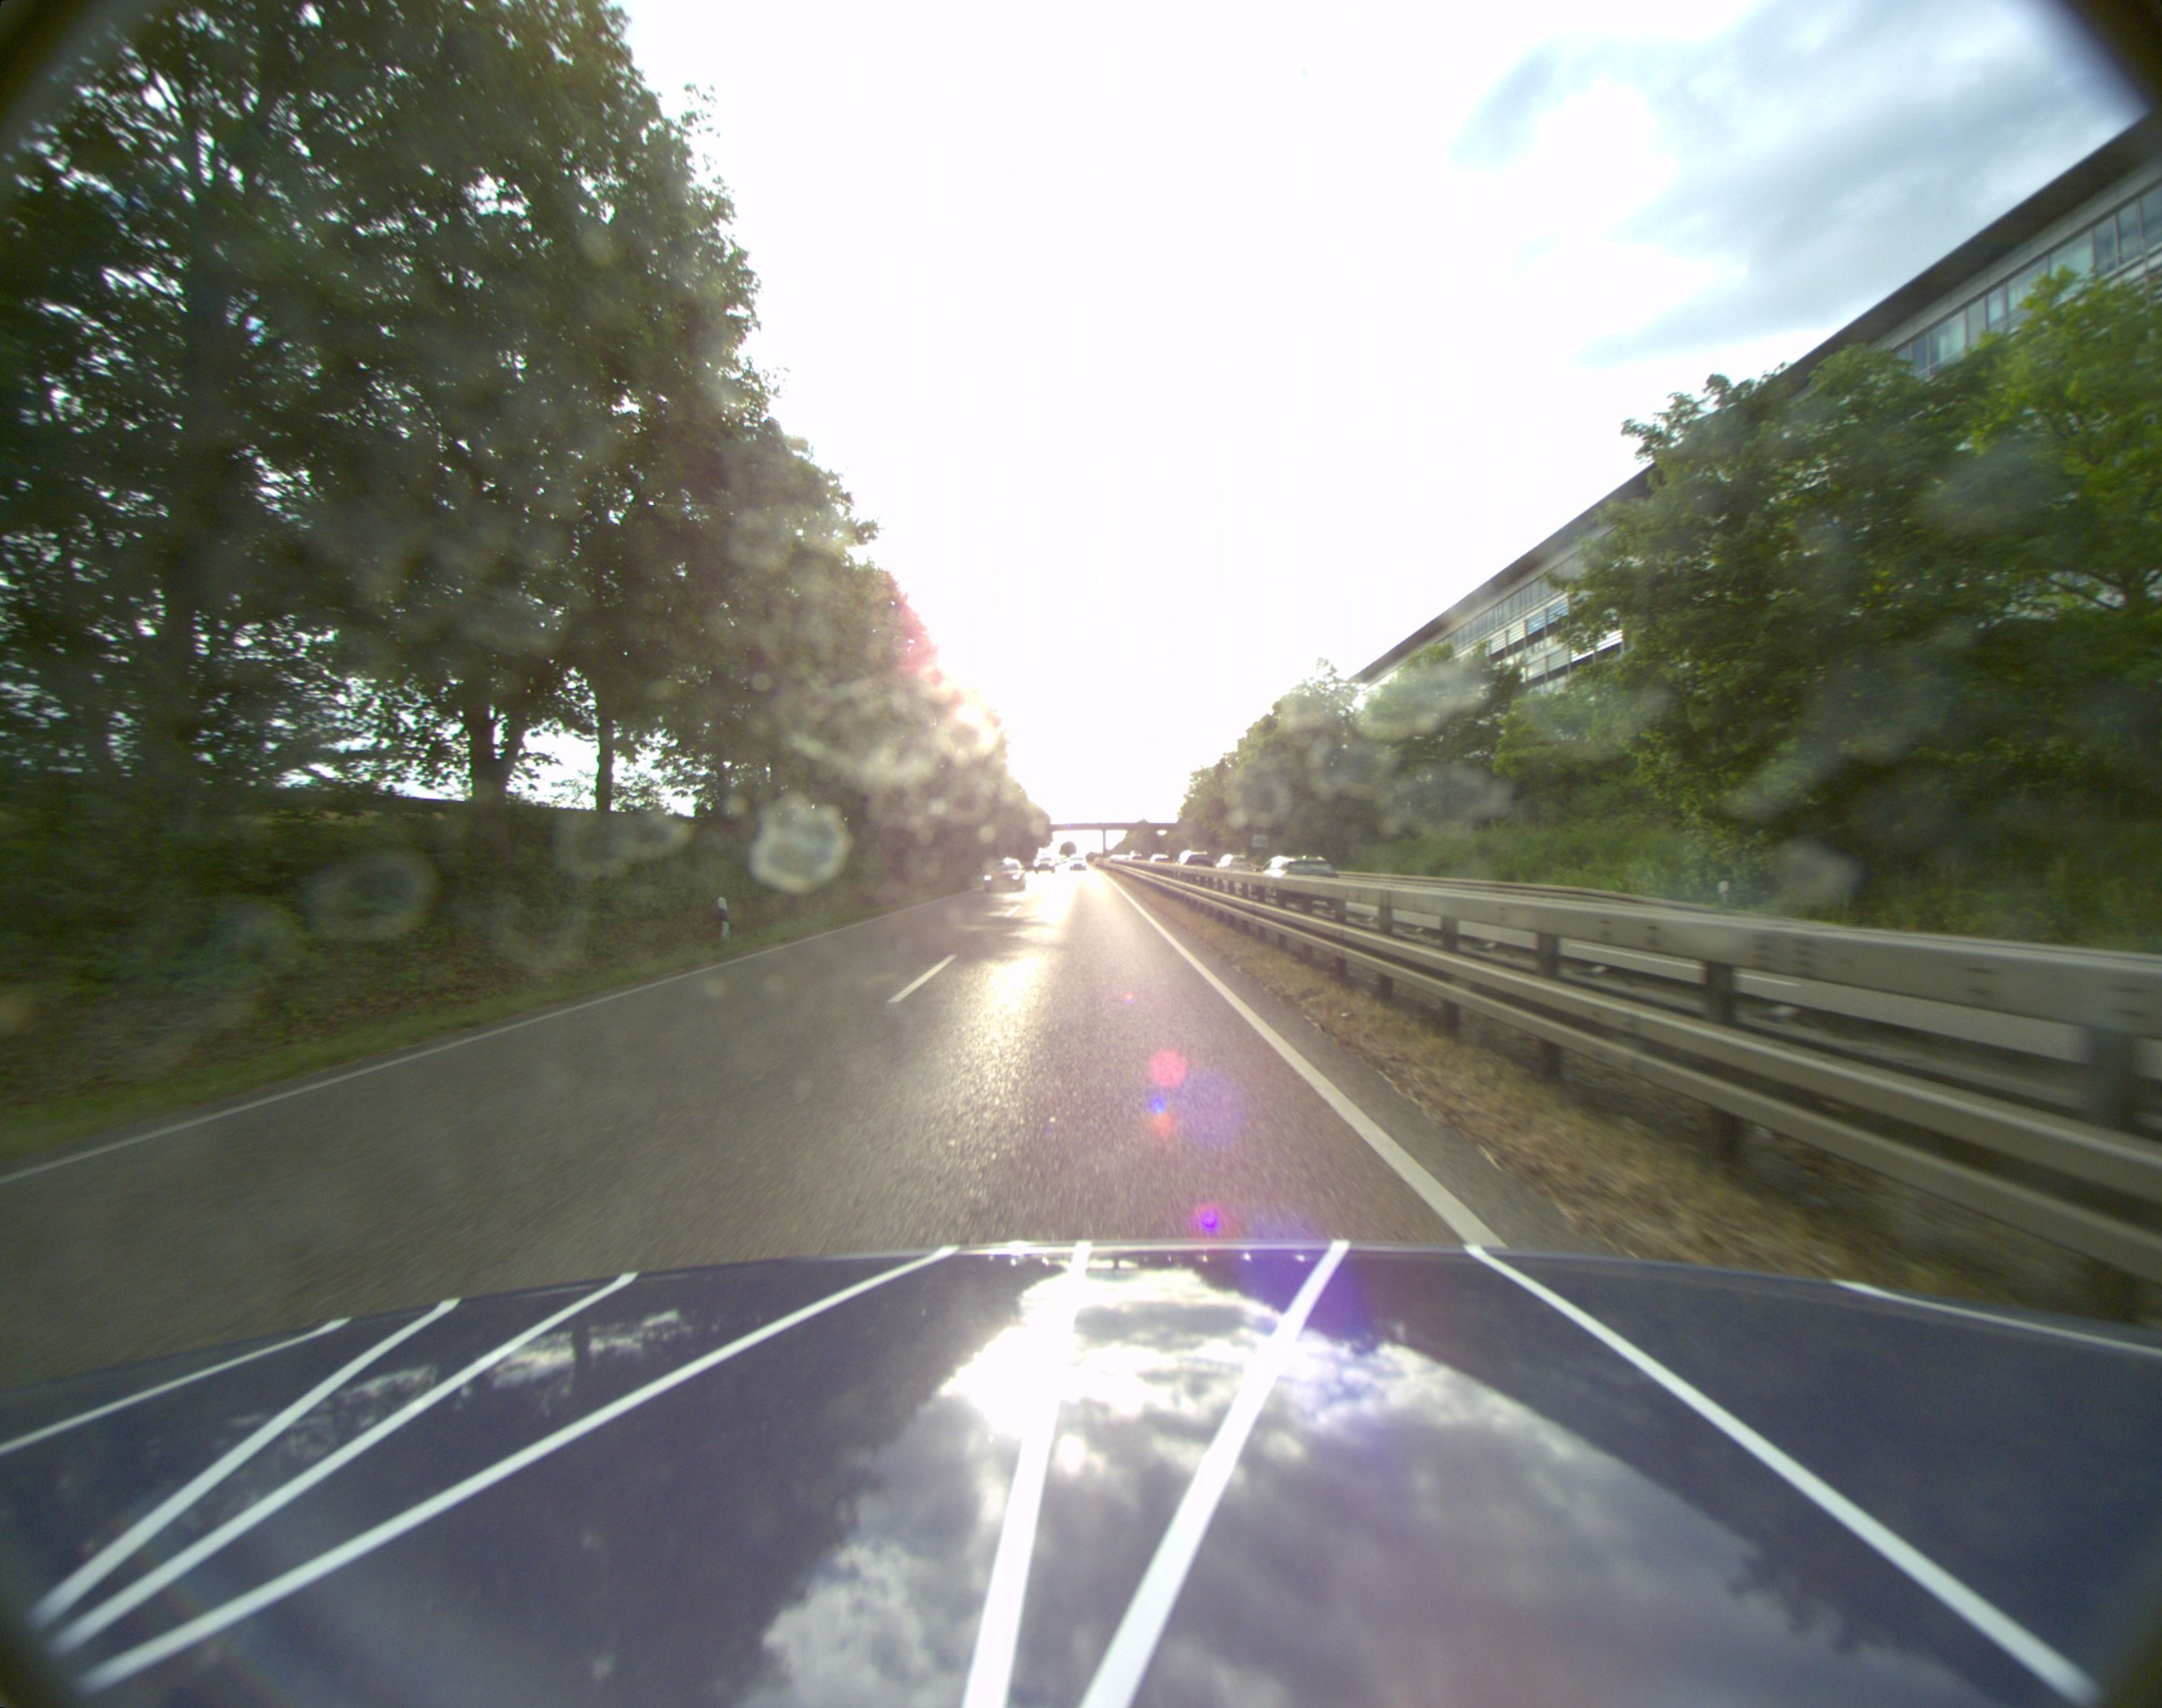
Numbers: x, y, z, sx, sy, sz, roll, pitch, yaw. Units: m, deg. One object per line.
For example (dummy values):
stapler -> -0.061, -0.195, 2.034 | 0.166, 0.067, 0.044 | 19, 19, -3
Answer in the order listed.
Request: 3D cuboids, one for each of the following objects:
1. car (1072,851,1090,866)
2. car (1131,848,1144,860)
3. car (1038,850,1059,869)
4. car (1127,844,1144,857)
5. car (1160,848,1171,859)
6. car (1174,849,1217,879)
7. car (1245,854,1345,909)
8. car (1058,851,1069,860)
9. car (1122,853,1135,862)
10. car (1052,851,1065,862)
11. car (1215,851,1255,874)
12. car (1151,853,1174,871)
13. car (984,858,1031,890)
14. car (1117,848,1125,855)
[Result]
car -> -0.001, 0.484, 80.579 | 1.723, 1.493, 4.420 | -2, -1, 1
car -> 12.113, -0.022, 162.634 | 2.255, 2.522, 6.940 | -1, 0, 0
car -> -3.047, 0.548, 72.086 | 1.723, 1.657, 4.419 | -2, -1, 1
car -> 6.991, -0.473, 97.695 | 1.825, 1.575, 4.316 | -1, 0, 1
car -> 15.416, -0.113, 139.330 | 1.871, 1.844, 4.624 | 3, 0, 5
car -> 6.643, 0.561, 44.570 | 1.747, 1.635, 5.279 | -1, 0, 0
car -> 6.282, 0.742, 22.846 | 1.747, 1.449, 4.311 | 1, 1, 0
car -> -3.576, 0.277, 154.309 | 1.948, 1.652, 4.000 | -2, -1, 1
car -> 7.217, 0.565, 114.906 | 1.680, 1.344, 3.831 | -1, 0, 0
car -> -3.593, 0.374, 122.873 | 1.723, 1.657, 4.419 | -2, -1, 1
car -> 10.514, 0.587, 52.257 | 1.821, 1.476, 4.417 | 1, 0, 0
car -> 6.955, 0.679, 65.012 | 1.595, 1.439, 3.999 | 0, 1, 0
car -> -3.509, 0.916, 36.758 | 1.723, 1.467, 3.729 | 0, 0, 2
car -> 8.773, -0.512, 166.241 | 1.610, 1.519, 3.640 | -1, 0, -1
